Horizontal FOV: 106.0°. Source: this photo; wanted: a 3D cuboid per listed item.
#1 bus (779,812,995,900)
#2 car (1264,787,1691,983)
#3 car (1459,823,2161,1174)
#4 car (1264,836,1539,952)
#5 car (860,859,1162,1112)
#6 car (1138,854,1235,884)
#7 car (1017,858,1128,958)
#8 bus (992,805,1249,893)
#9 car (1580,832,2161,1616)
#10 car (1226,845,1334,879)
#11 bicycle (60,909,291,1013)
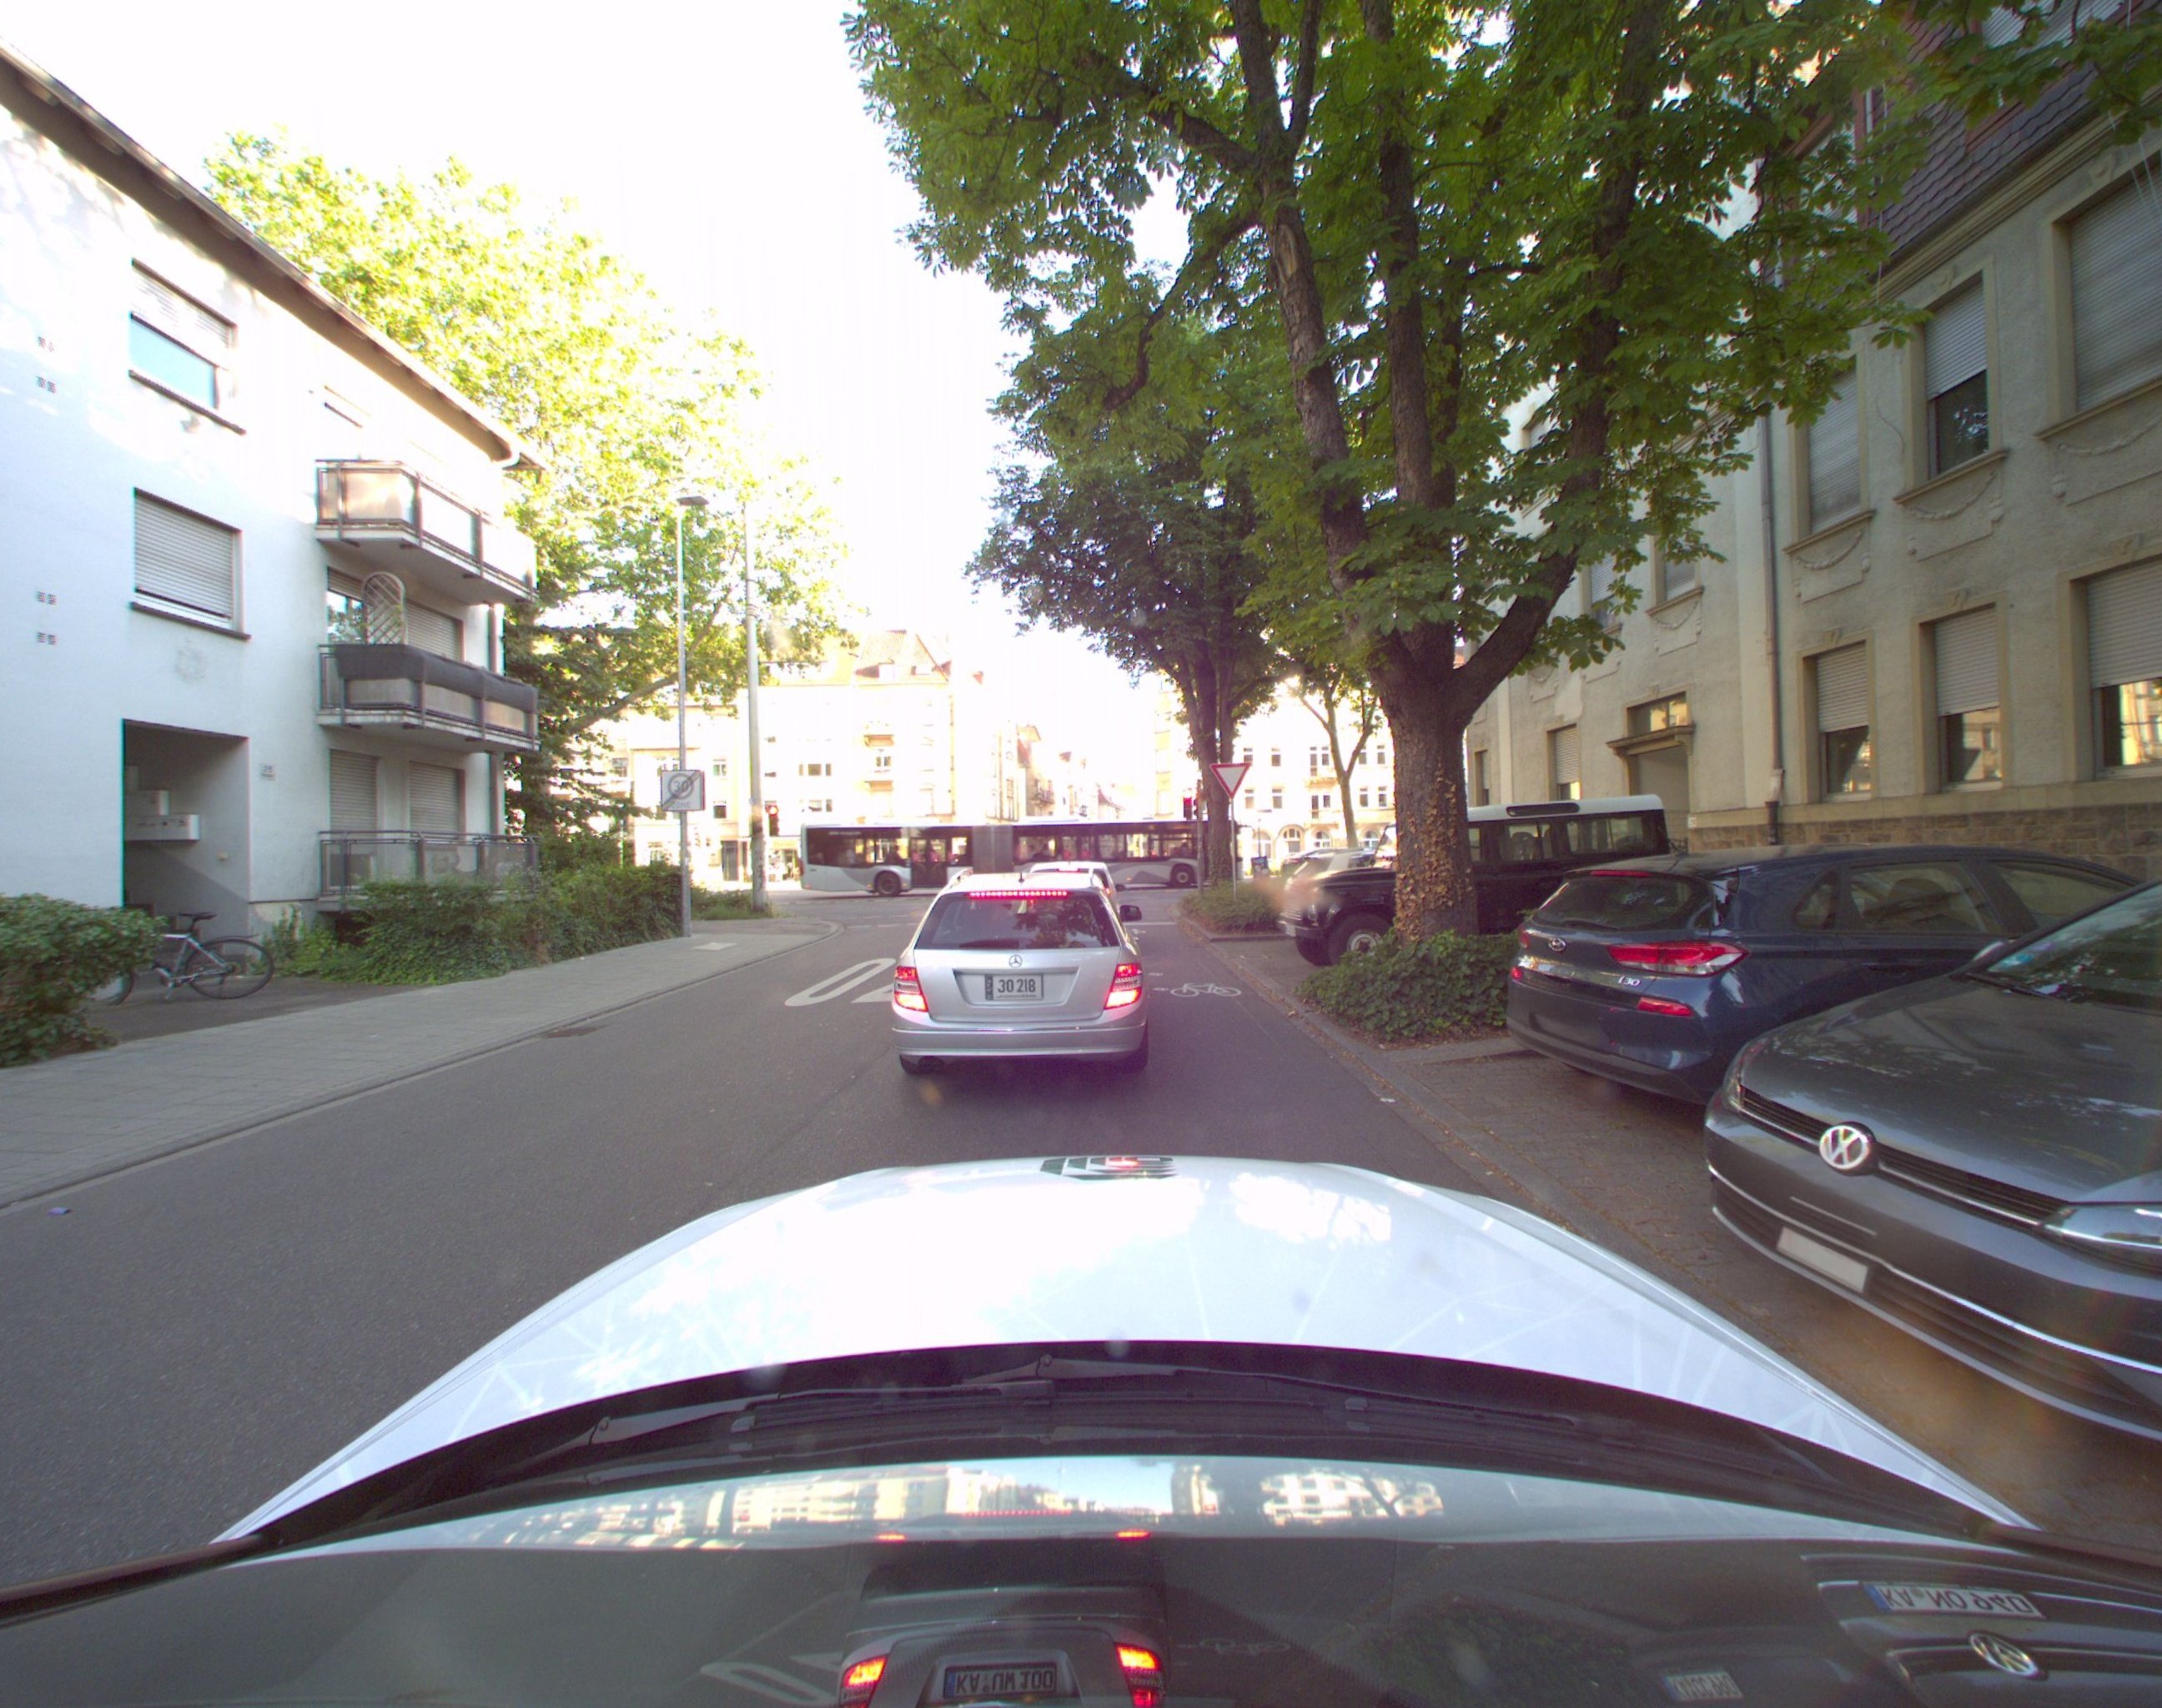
[{"bbox_3d":[-7.662,0.053,33.252,8.166,3.201,2.905,-2,0,-7],"label":"bus"},{"bbox_3d":[4.738,0.353,10.157,4.453,2.036,1.700,-3,-1,-2],"label":"car"},{"bbox_3d":[4.396,0.632,4.583,3.714,1.452,1.707,-3,-1,-2],"label":"car"},{"bbox_3d":[5.027,0.599,13.118,3.714,1.570,1.707,-3,-1,-2],"label":"car"},{"bbox_3d":[-0.404,0.793,7.105,1.771,1.452,4.547,-1,0,0],"label":"car"},{"bbox_3d":[4.903,0.687,38.132,4.192,1.236,1.715,-2,0,-7],"label":"car"},{"bbox_3d":[-0.111,0.802,14.199,1.614,1.447,4.344,-1,0,0],"label":"car"},{"bbox_3d":[1.552,-0.242,34.346,10.440,3.201,2.905,-2,0,-7],"label":"bus"},{"bbox_3d":[4.031,0.645,2.412,4.042,1.452,1.722,-3,-1,-2],"label":"car"},{"bbox_3d":[9.486,0.362,38.963,4.684,1.428,1.715,-2,0,-7],"label":"car"},{"bbox_3d":[-9.969,1.145,9.056,1.630,1.008,0.511,2,-1,-39],"label":"bicycle"}]
